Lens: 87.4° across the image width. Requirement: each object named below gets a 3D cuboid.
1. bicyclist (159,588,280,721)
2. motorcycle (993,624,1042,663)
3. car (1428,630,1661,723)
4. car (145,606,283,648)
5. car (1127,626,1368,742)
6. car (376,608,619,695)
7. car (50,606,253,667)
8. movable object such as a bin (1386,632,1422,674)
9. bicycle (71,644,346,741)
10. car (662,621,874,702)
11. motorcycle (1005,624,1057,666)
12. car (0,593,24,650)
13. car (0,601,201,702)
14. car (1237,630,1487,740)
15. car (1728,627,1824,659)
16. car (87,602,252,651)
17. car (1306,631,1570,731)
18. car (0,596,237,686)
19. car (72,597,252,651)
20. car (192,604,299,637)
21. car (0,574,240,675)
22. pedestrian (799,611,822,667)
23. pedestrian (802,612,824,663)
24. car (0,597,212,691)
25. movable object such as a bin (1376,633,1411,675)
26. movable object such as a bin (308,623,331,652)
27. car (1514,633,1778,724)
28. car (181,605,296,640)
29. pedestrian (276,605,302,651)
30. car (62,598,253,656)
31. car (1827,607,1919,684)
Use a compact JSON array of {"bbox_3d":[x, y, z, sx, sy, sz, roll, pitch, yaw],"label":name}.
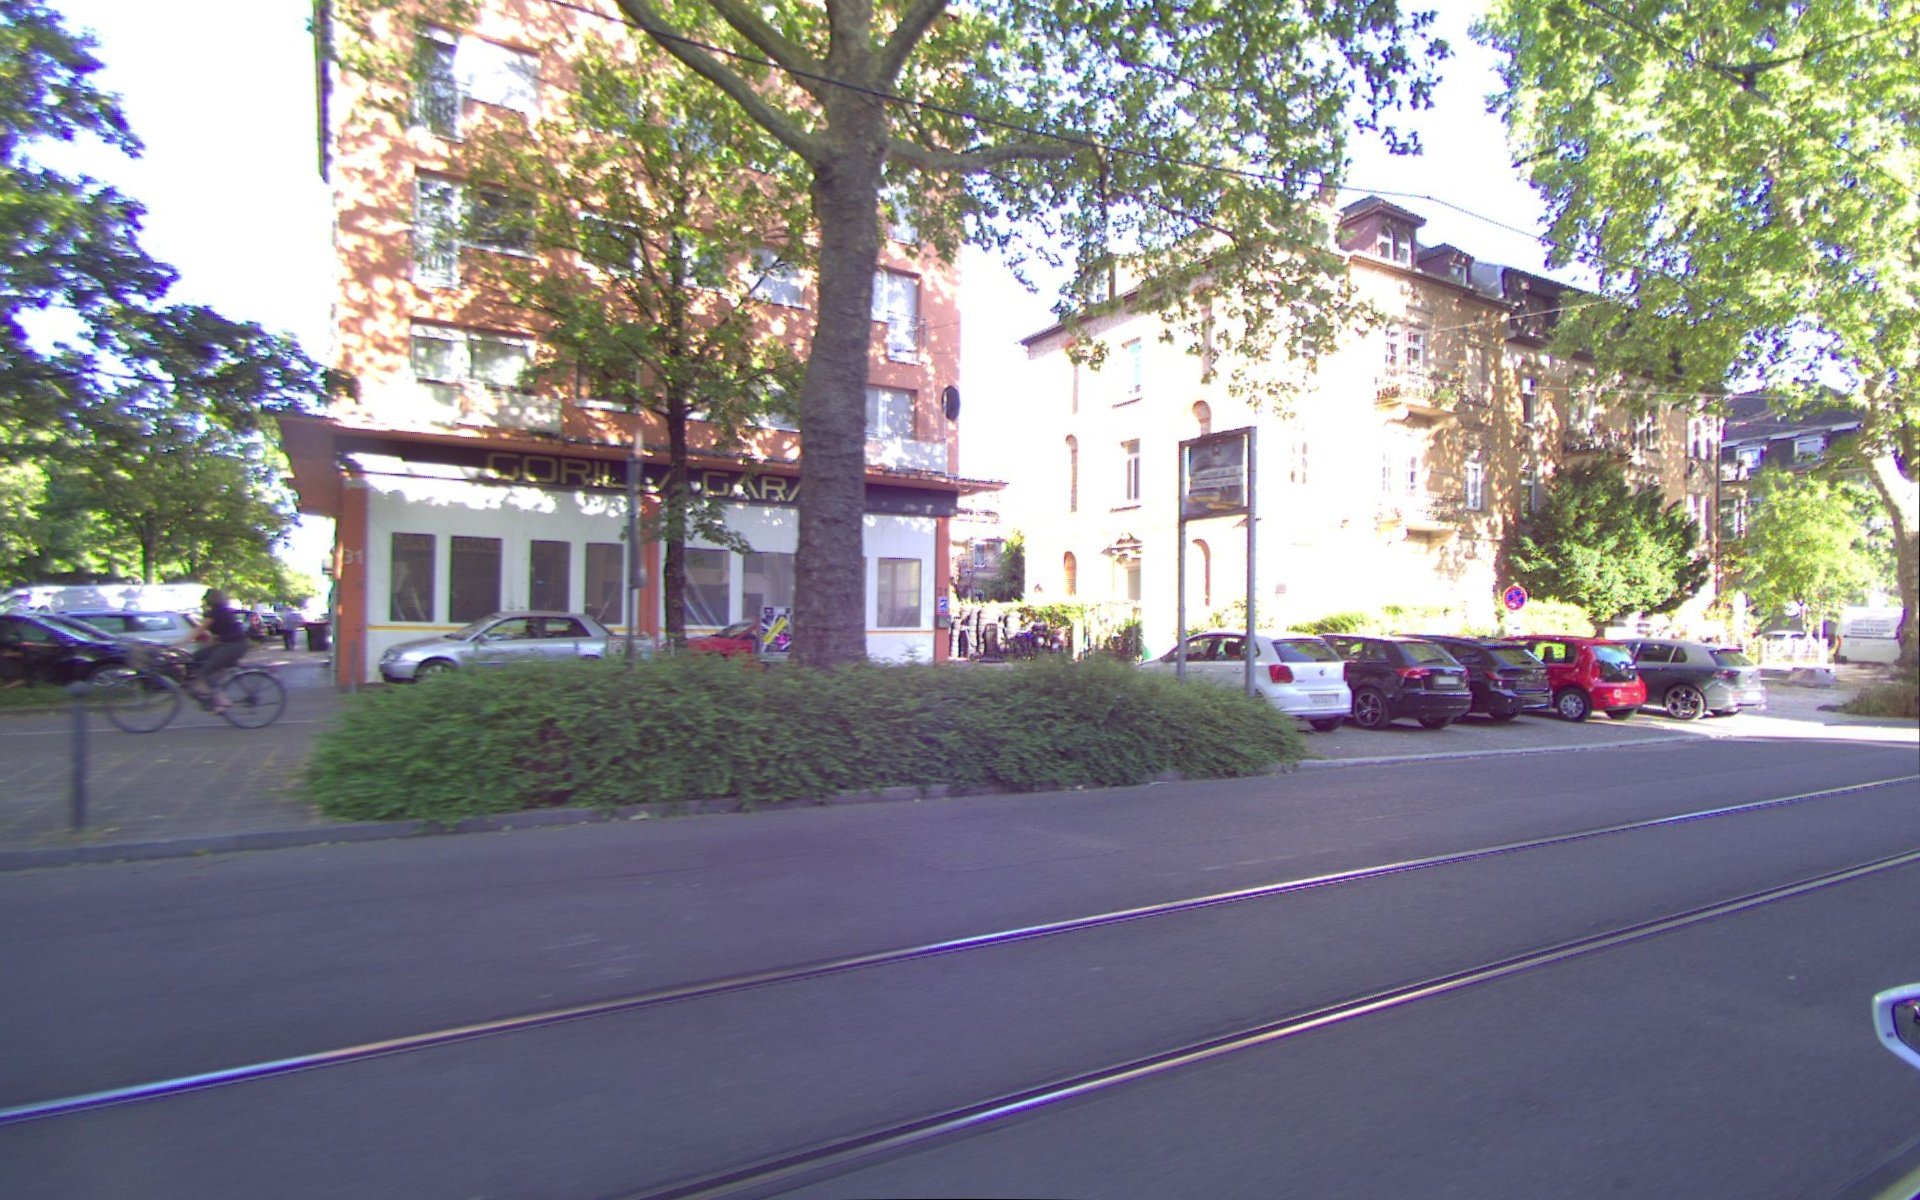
[{"bbox_3d":[-8.935,0.633,12.130,1.108,1.527,0.793,2,0,-40],"label":"bicyclist"},{"bbox_3d":[1.934,1.462,33.826,1.545,1.306,0.590,2,0,-31],"label":"motorcycle"},{"bbox_3d":[10.907,1.372,18.970,1.737,1.484,3.407,1,-1,-27],"label":"car"},{"bbox_3d":[-30.605,1.103,41.338,4.443,1.639,1.930,2,-1,-37],"label":"car"},{"bbox_3d":[4.281,1.193,15.412,1.675,1.484,3.407,1,-1,-27],"label":"car"},{"bbox_3d":[-8.440,0.906,18.428,3.846,1.426,1.939,2,-1,-30],"label":"car"},{"bbox_3d":[-23.279,1.035,29.155,4.443,1.639,1.930,2,-1,-37],"label":"car"},{"bbox_3d":[12.437,1.483,28.122,0.553,1.124,0.720,1,0,-28],"label":"movable object such as a bin"},{"bbox_3d":[-8.964,1.054,12.104,2.562,1.012,0.960,2,-1,-40],"label":"bicycle"},{"bbox_3d":[-4.012,1.246,21.036,3.952,1.507,1.939,2,-1,-30],"label":"car"},{"bbox_3d":[2.339,1.480,33.172,1.608,1.321,0.639,2,0,-31],"label":"motorcycle"},{"bbox_3d":[-38.634,0.810,39.345,2.021,2.226,4.703,1,-1,-32],"label":"car"},{"bbox_3d":[-14.662,0.785,16.051,3.968,1.513,1.797,2,-1,-40],"label":"car"},{"bbox_3d":[6.421,1.284,16.424,1.665,1.484,3.588,1,-1,-27],"label":"car"},{"bbox_3d":[43.554,2.299,53.612,4.669,1.613,1.853,1,-1,-21],"label":"car"},{"bbox_3d":[-27.727,0.930,35.435,4.443,1.639,1.930,2,-1,-37],"label":"car"},{"bbox_3d":[8.484,1.361,18.208,1.797,1.484,4.067,1,-1,-27],"label":"car"},{"bbox_3d":[-17.122,0.777,19.819,4.519,1.639,1.977,2,-1,-39],"label":"car"},{"bbox_3d":[-25.717,0.780,32.587,4.443,1.639,1.930,2,-1,-37],"label":"car"},{"bbox_3d":[-37.337,1.085,52.557,4.443,1.639,1.930,2,-1,-37],"label":"car"},{"bbox_3d":[-18.791,0.531,21.908,4.869,2.030,1.981,2,-1,-34],"label":"car"},{"bbox_3d":[-4.843,1.248,32.530,0.514,1.801,0.536,1,0,-30],"label":"pedestrian"},{"bbox_3d":[-4.876,1.231,33.359,0.543,1.682,0.500,1,0,-30],"label":"pedestrian"},{"bbox_3d":[-15.845,0.755,17.934,3.963,1.546,1.979,2,-1,-37],"label":"car"},{"bbox_3d":[11.992,1.494,27.788,0.536,1.124,0.721,1,0,-28],"label":"movable object such as a bin"},{"bbox_3d":[-23.538,1.387,36.902,0.678,1.039,0.621,1,0,-34],"label":"movable object such as a bin"},{"bbox_3d":[13.526,1.476,20.043,1.832,1.484,3.968,2,-1,-30],"label":"car"},{"bbox_3d":[-34.887,1.094,48.645,4.443,1.639,1.930,2,-1,-37],"label":"car"},{"bbox_3d":[-25.308,1.057,37.882,0.772,1.695,0.705,1,0,-36],"label":"pedestrian"},{"bbox_3d":[-24.499,0.826,30.885,4.443,1.639,1.930,2,-1,-37],"label":"car"},{"bbox_3d":[29.785,1.399,30.389,2.063,2.289,5.004,1,-1,-32],"label":"car"}]
